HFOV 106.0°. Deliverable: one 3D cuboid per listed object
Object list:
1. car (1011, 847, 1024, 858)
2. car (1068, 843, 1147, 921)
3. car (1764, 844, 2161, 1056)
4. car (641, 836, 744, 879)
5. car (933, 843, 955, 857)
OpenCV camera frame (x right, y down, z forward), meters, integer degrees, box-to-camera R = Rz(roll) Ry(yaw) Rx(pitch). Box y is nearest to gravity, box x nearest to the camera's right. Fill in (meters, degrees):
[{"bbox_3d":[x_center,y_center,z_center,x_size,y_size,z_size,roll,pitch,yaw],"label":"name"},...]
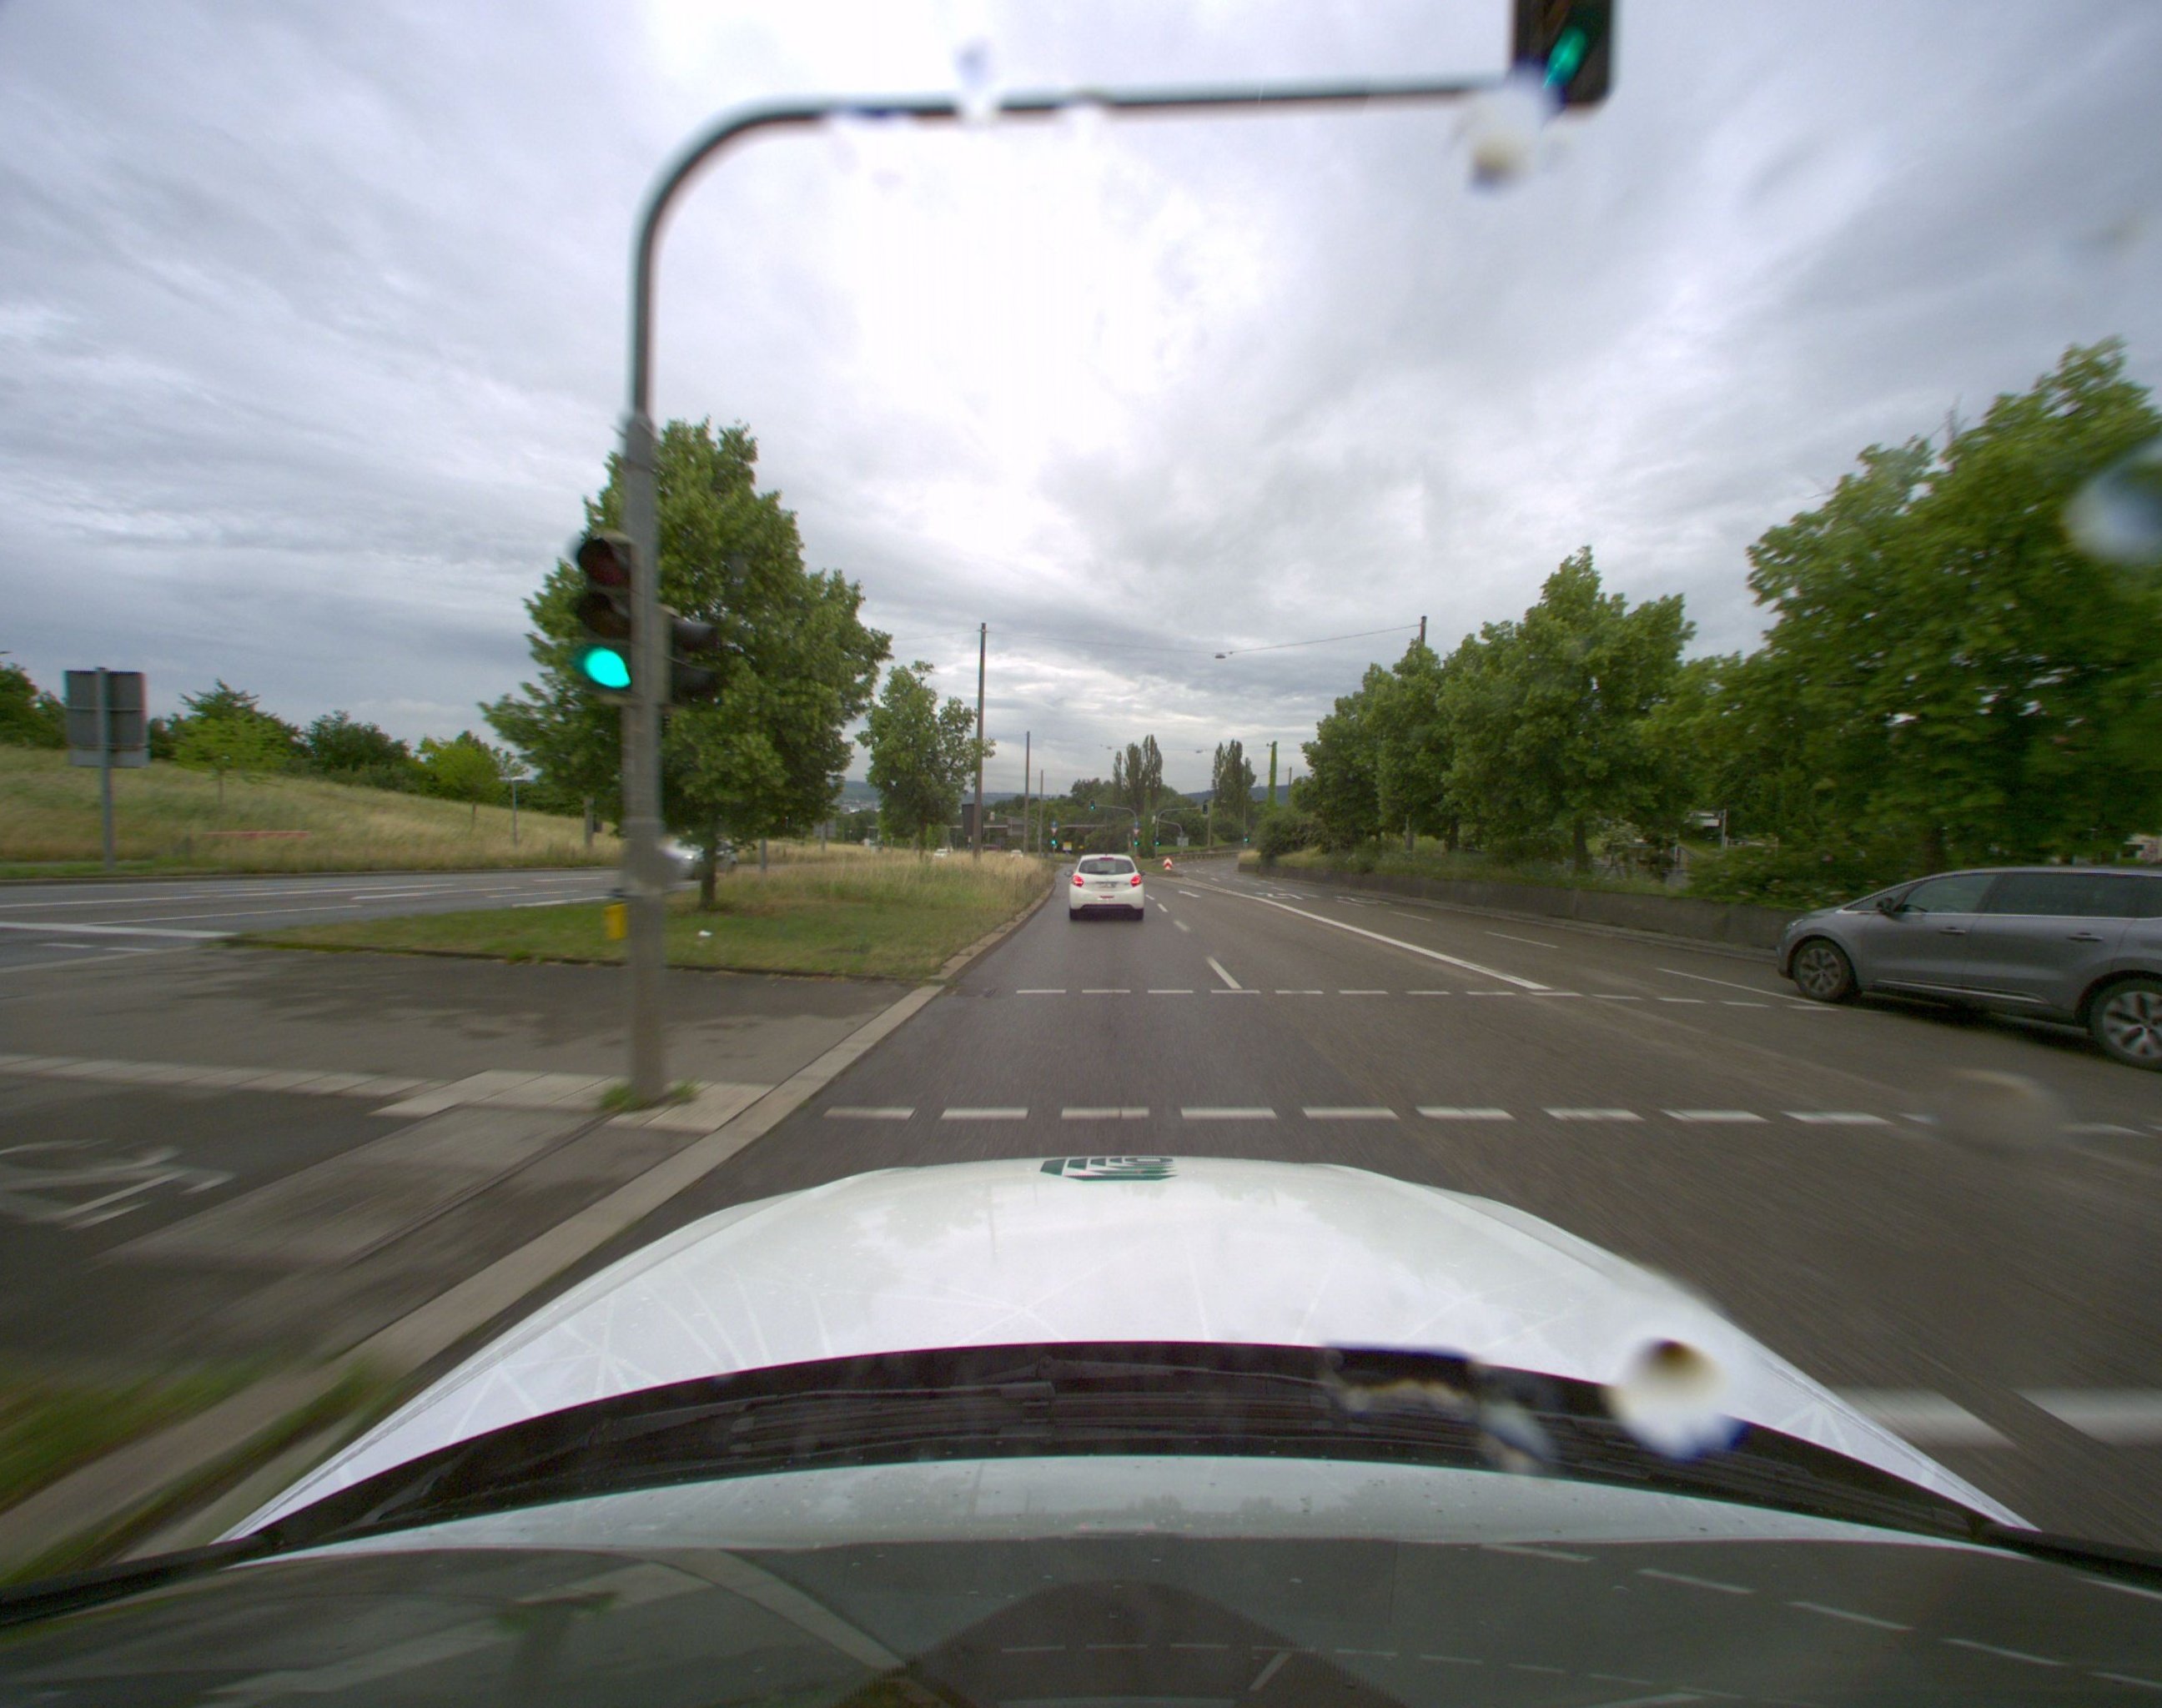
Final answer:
[{"bbox_3d":[-8.649,-0.166,111.390,1.734,1.373,3.994,1,-1,-4],"label":"car"},{"bbox_3d":[0.630,0.589,19.483,1.702,1.439,3.693,0,4,1],"label":"car"},{"bbox_3d":[9.366,0.822,7.884,1.719,1.649,4.627,3,-1,2],"label":"car"},{"bbox_3d":[-13.832,0.108,29.241,1.531,1.389,3.932,1,0,4],"label":"car"},{"bbox_3d":[-17.783,-0.515,105.861,1.878,1.611,4.678,1,-1,2],"label":"car"}]
